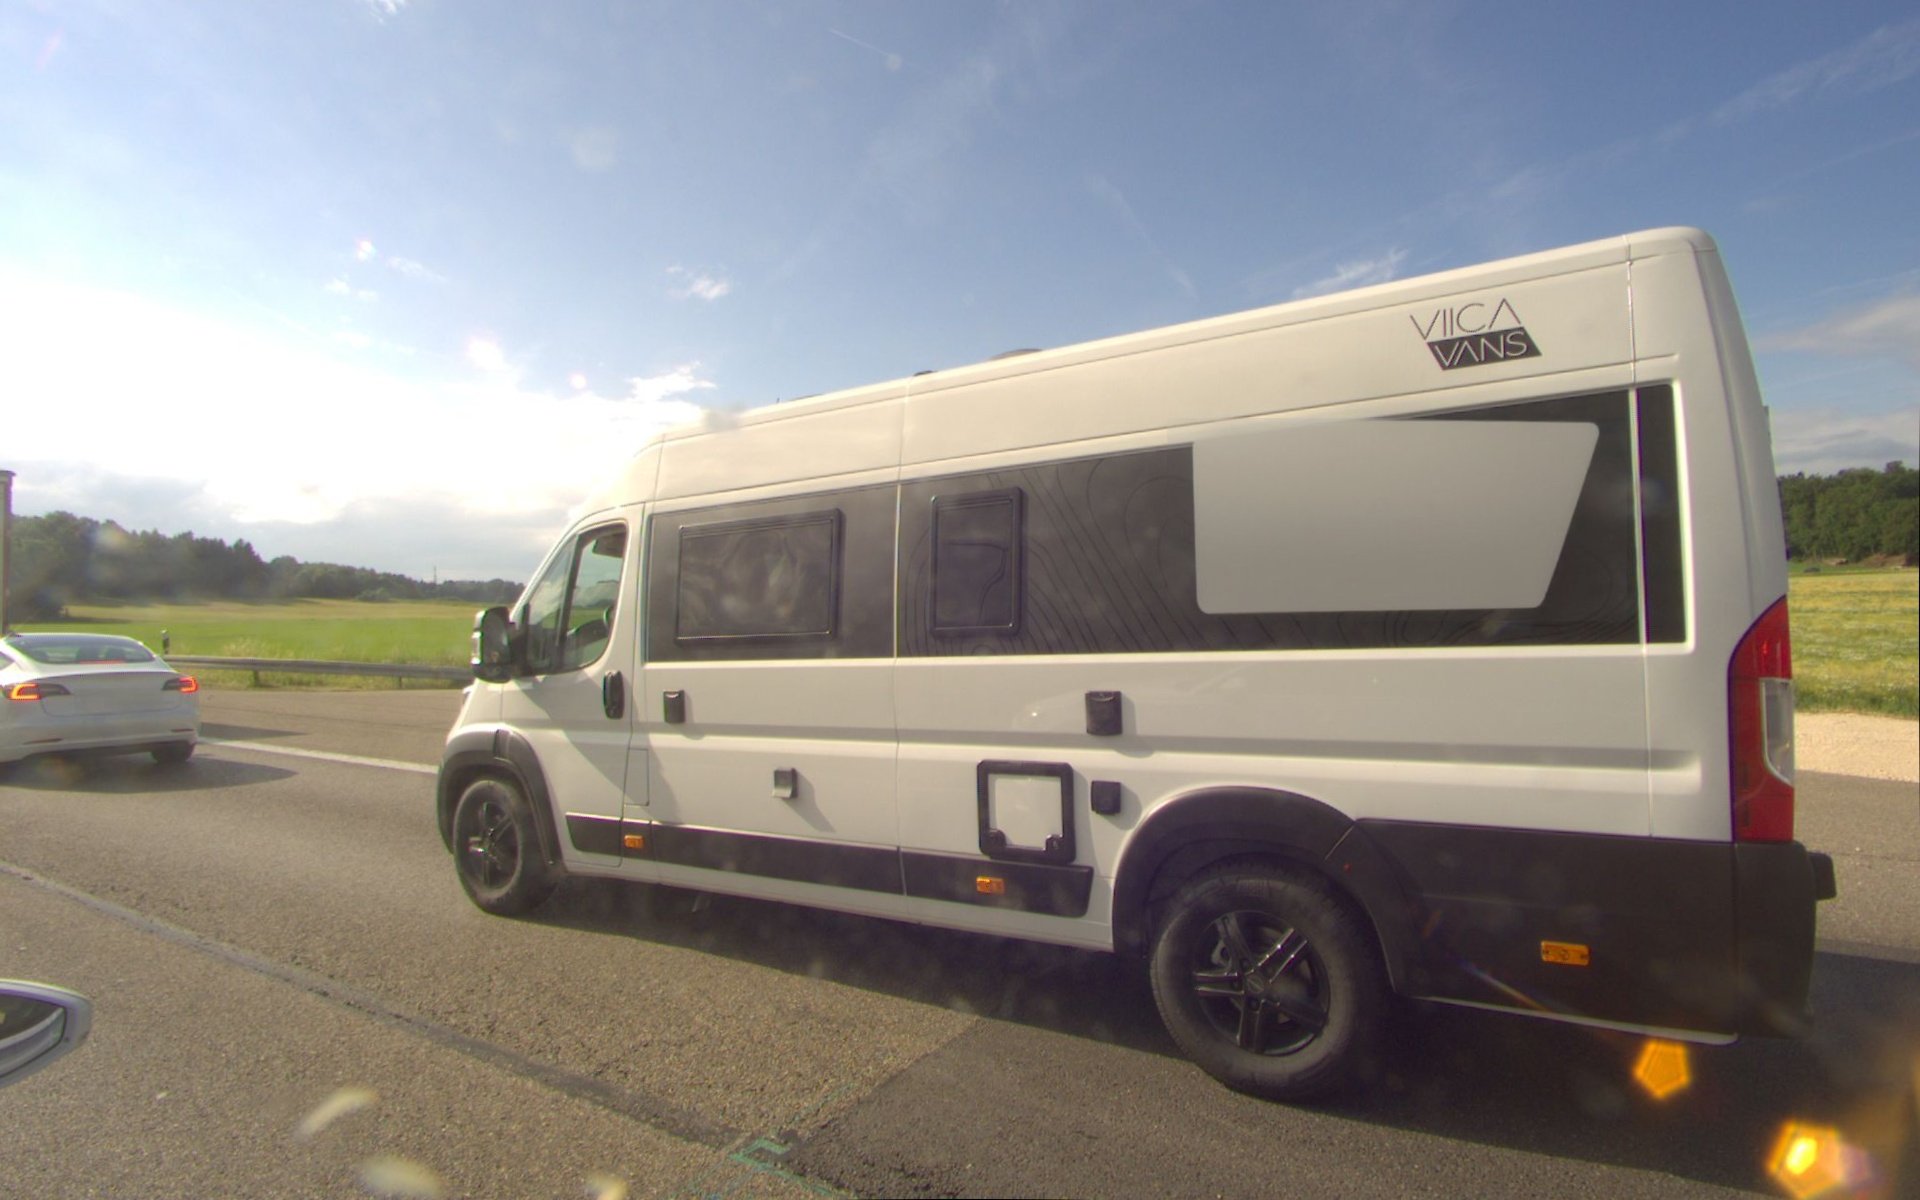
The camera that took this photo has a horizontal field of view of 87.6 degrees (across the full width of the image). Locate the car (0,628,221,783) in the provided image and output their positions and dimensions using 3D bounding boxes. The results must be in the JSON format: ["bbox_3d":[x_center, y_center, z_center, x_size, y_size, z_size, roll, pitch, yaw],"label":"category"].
[{"bbox_3d":[-10.278,1.027,11.108,4.371,1.412,1.786,-1,-1,30],"label":"car"}]

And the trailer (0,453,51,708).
[{"bbox_3d":[-21.298,-0.131,18.725,13.181,4.061,3.125,-2,-2,33],"label":"trailer"}]

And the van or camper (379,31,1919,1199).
[{"bbox_3d":[0.042,0.185,4.774,6.241,2.716,2.211,-1,-1,32],"label":"van or camper"}]
